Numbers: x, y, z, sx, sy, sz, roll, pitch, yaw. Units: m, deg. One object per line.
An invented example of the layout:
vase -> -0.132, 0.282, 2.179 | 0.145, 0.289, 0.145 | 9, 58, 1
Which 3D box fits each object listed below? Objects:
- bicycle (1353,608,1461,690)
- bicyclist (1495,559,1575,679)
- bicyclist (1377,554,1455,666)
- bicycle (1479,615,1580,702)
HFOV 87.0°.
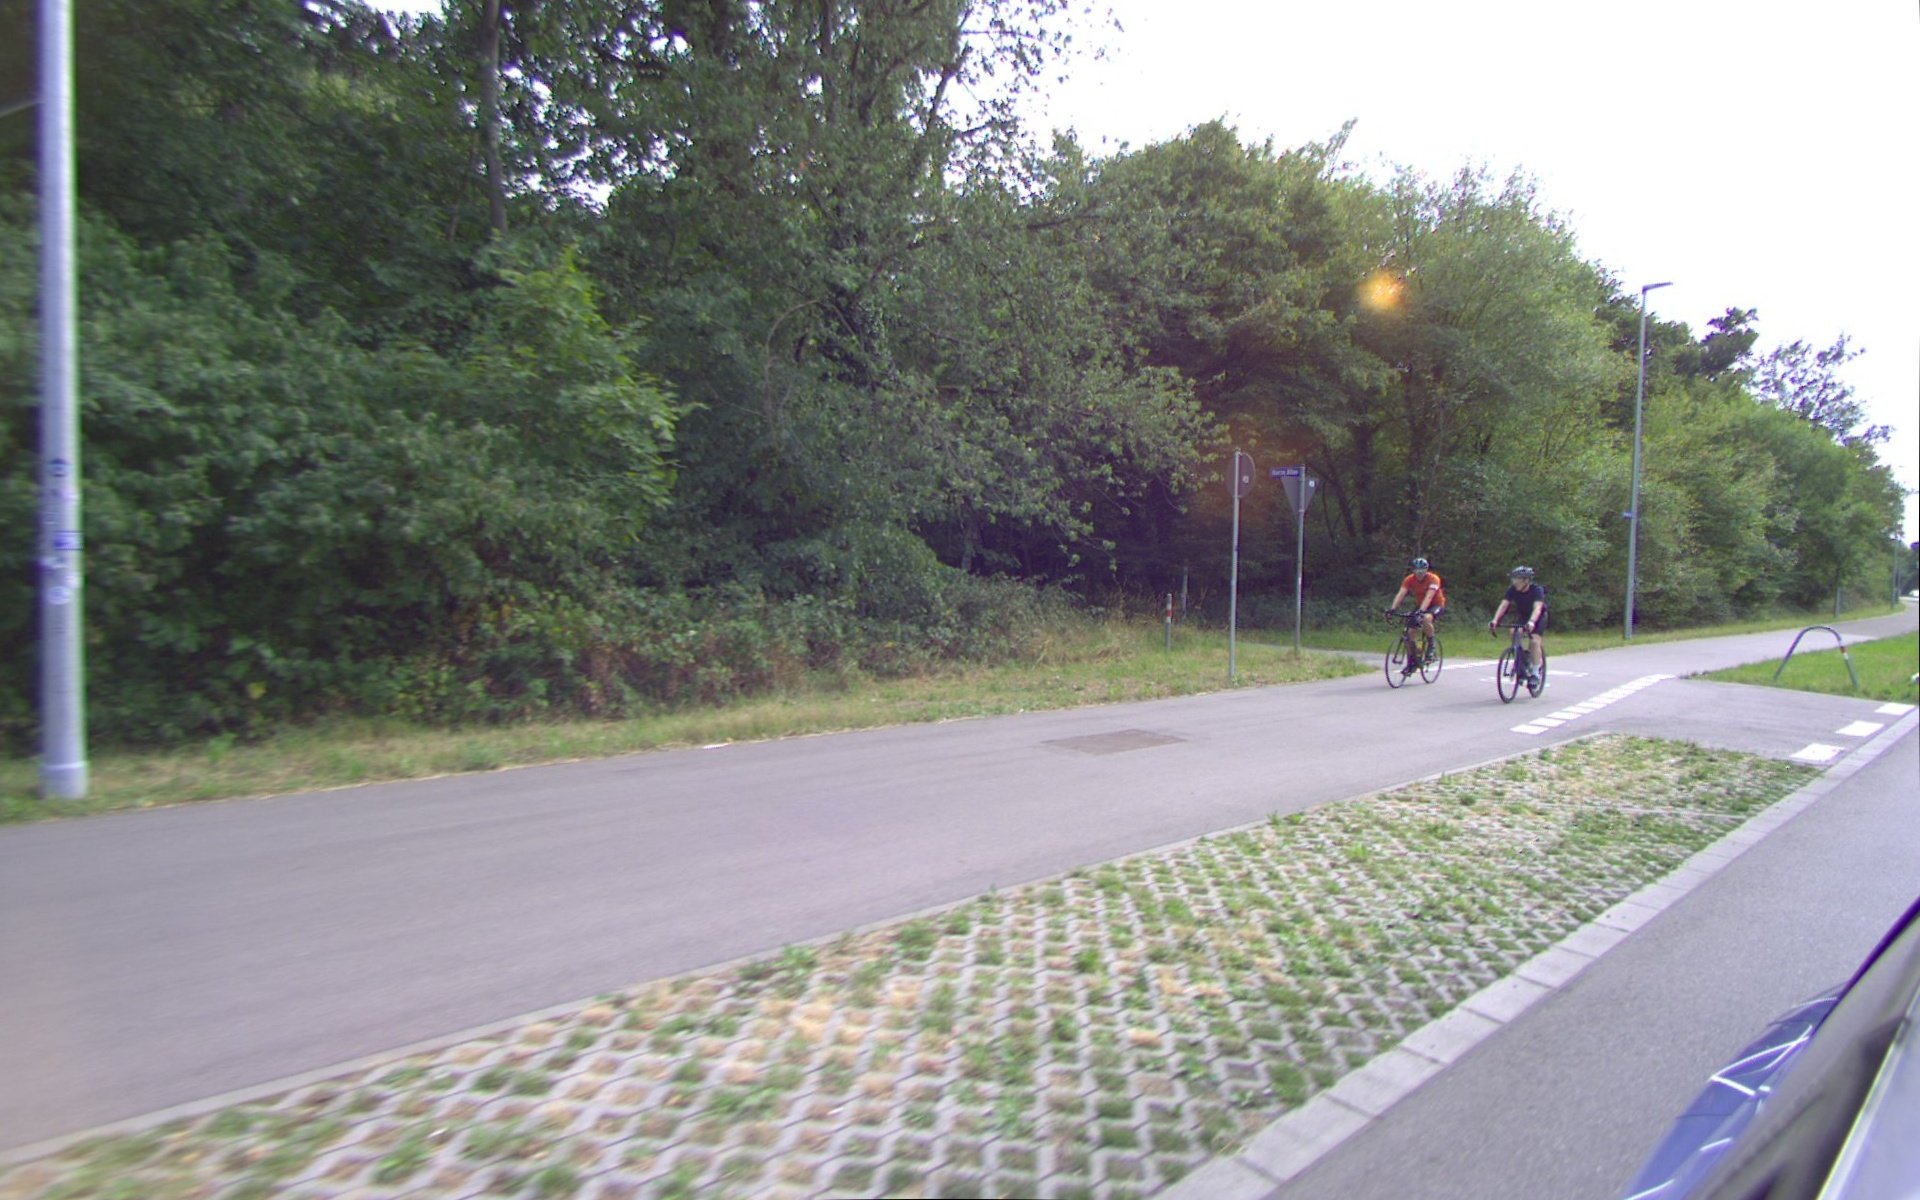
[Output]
bicycle -> 5.987, 0.625, 13.510 | 1.855, 0.922, 0.567 | -2, 5, -42
bicyclist -> 7.211, 0.212, 12.672 | 1.166, 1.433, 0.520 | -1, 2, -42
bicyclist -> 6.124, 0.118, 13.577 | 1.166, 1.433, 0.520 | -1, 1, -42
bicycle -> 7.223, 0.707, 12.797 | 1.725, 0.922, 0.567 | -2, 5, -42
